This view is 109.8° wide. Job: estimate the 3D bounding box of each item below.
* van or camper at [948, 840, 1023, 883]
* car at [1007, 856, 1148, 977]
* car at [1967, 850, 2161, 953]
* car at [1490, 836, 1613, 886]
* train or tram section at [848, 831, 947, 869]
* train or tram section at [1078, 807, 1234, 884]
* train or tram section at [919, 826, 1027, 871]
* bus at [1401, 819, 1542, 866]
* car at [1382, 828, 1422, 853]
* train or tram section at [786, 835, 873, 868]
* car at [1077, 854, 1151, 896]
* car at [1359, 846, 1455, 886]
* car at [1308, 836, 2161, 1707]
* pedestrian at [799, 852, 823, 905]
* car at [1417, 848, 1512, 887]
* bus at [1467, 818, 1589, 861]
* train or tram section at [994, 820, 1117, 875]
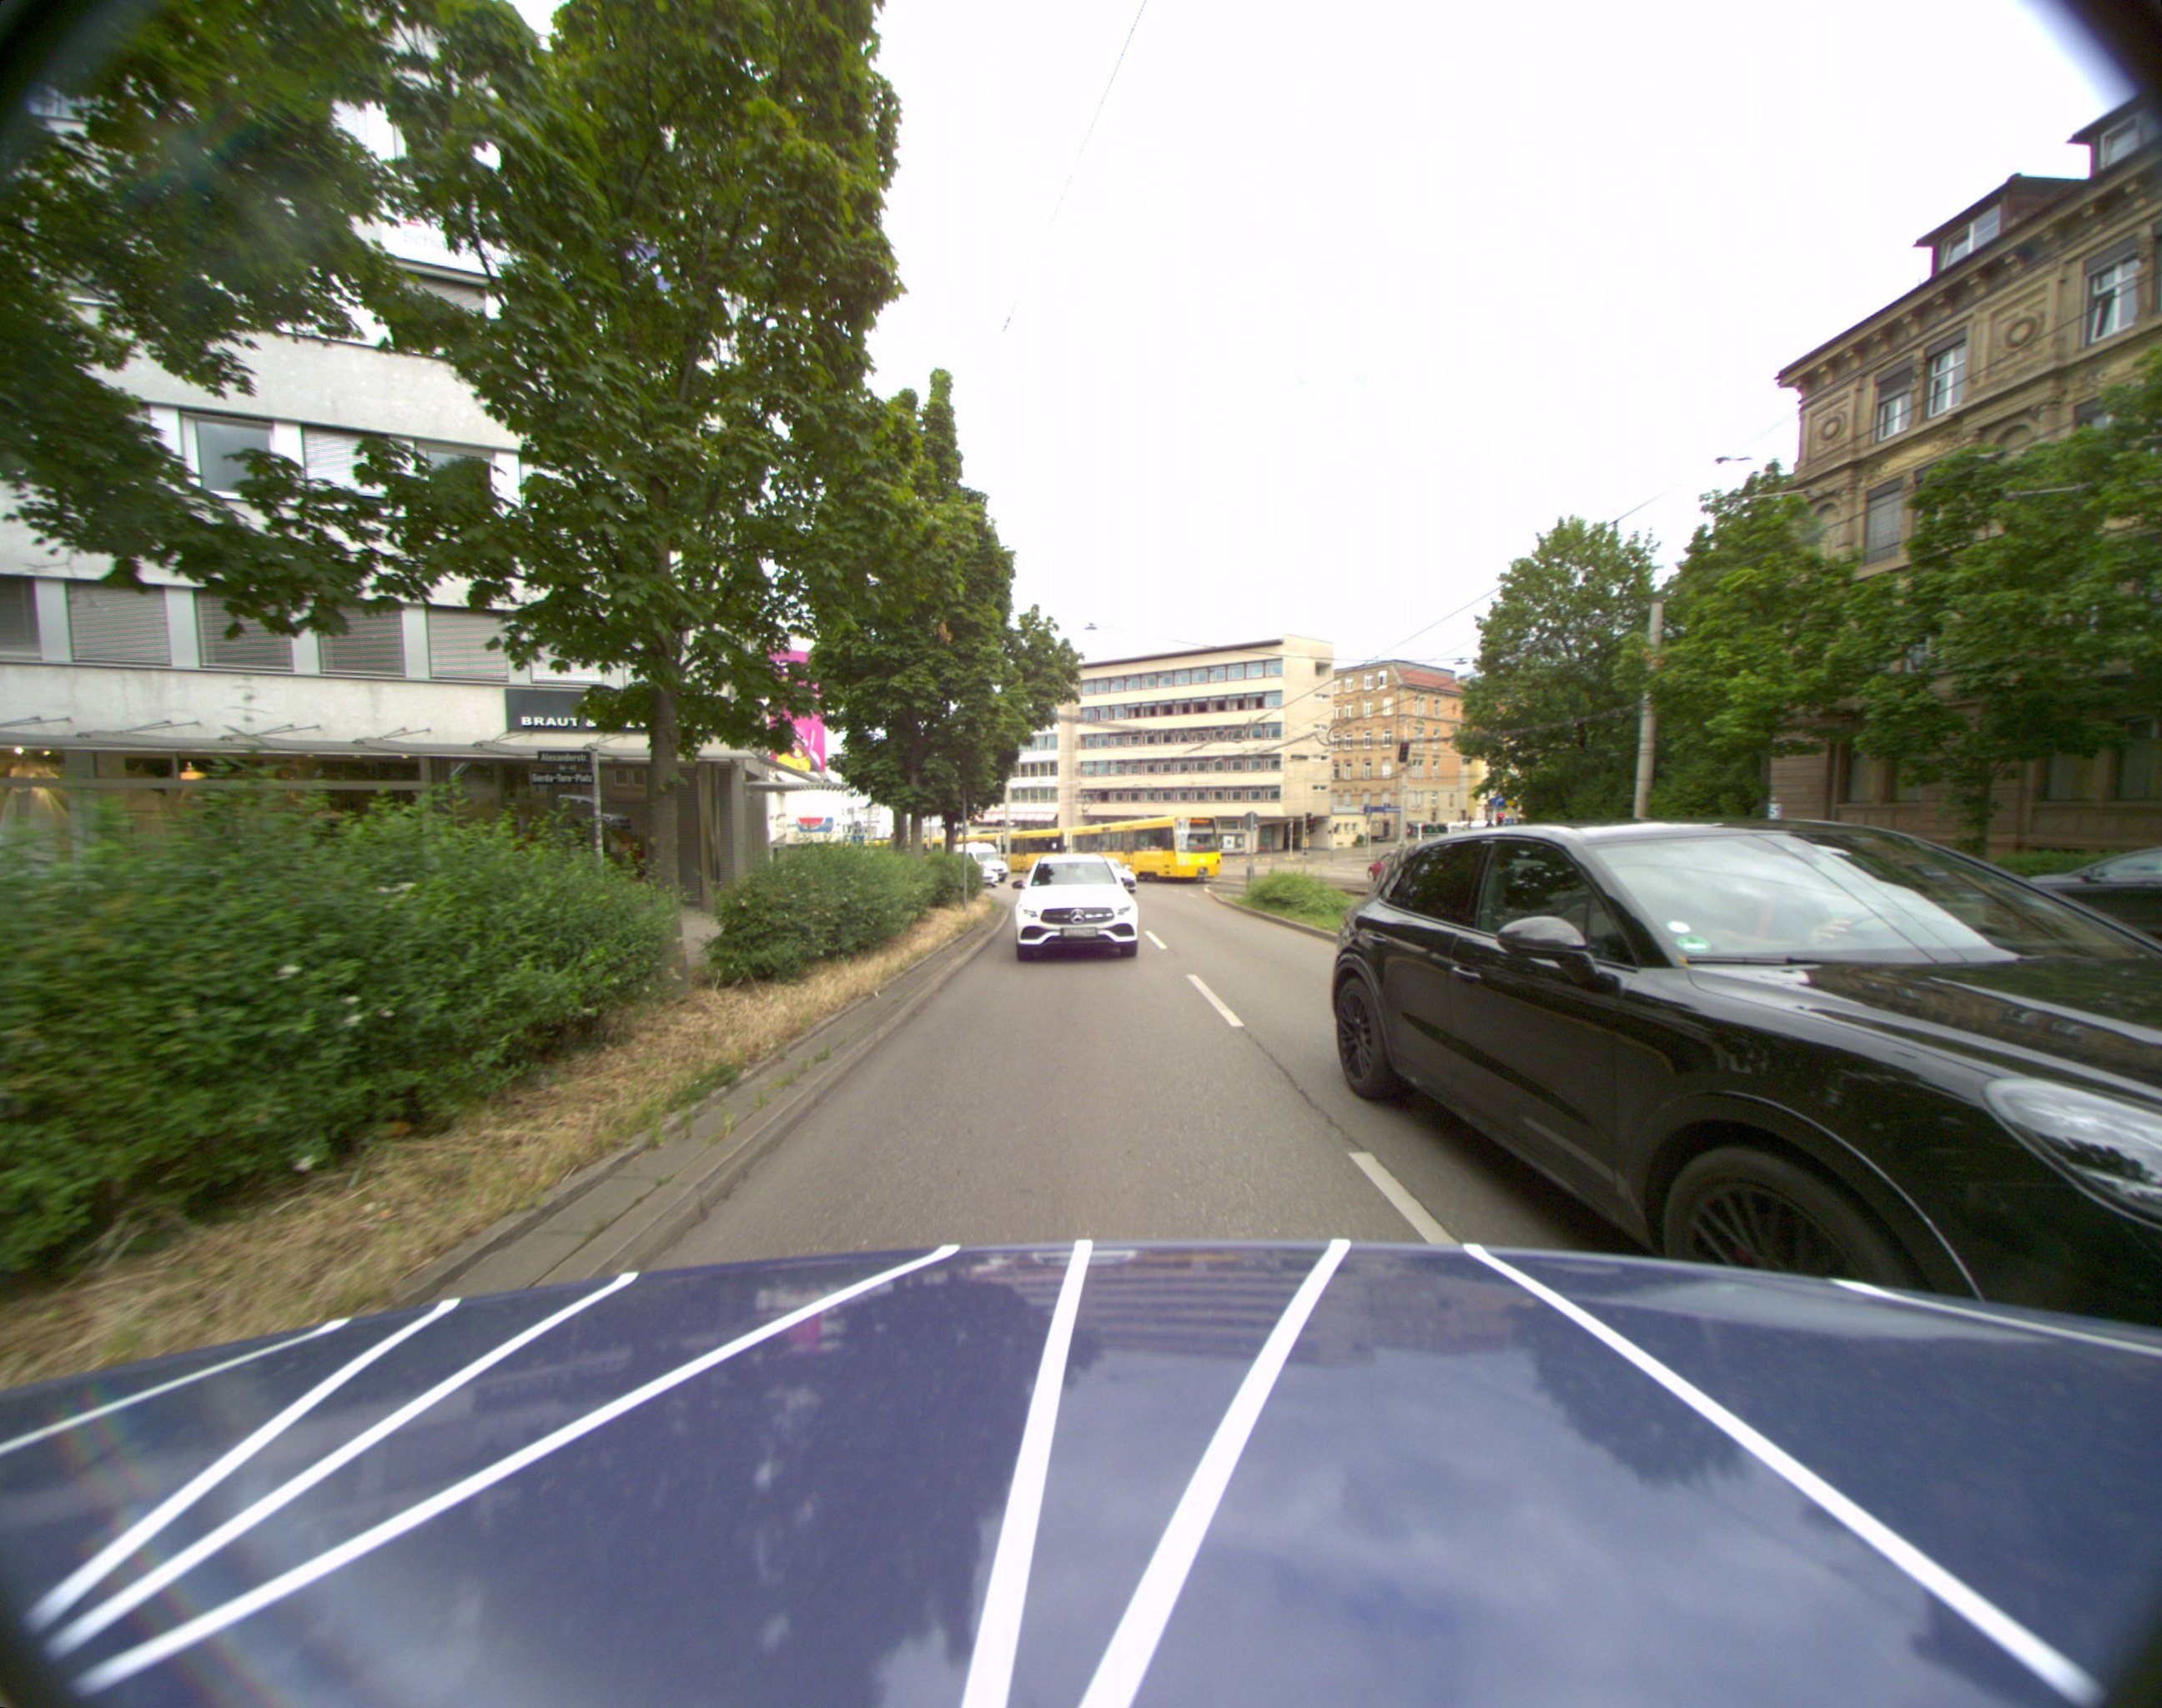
[{"bbox_3d":[-6.551,0.449,51.151,2.213,2.544,6.356,-5,3,-34],"label":"van or camper"},{"bbox_3d":[-0.084,0.904,13.267,1.935,1.622,4.772,-3,0,-1],"label":"car"},{"bbox_3d":[16.211,0.665,10.586,1.824,1.442,4.945,-1,-1,-2],"label":"car"},{"bbox_3d":[18.927,0.280,30.888,1.998,1.839,4.994,-1,0,2],"label":"car"},{"bbox_3d":[-19.653,-0.420,80.346,14.188,3.540,2.937,0,4,44],"label":"train or tram section"},{"bbox_3d":[3.752,-0.501,44.341,2.893,3.643,14.449,-4,2,-20],"label":"train or tram section"},{"bbox_3d":[-10.235,-0.462,69.805,2.895,3.643,14.190,-5,3,-38],"label":"train or tram section"},{"bbox_3d":[28.549,-0.916,55.304,11.565,3.012,3.382,-2,1,-30],"label":"bus"},{"bbox_3d":[33.270,-1.397,78.696,4.007,2.000,1.997,-5,-7,-42],"label":"car"},{"bbox_3d":[-30.029,-0.169,90.092,14.189,3.423,2.895,-1,4,42],"label":"train or tram section"},{"bbox_3d":[1.310,0.834,32.400,1.899,1.467,4.524,-3,2,-14],"label":"car"},{"bbox_3d":[13.593,0.461,32.018,1.999,1.510,4.405,-2,0,-2],"label":"car"},{"bbox_3d":[2.649,0.797,2.930,2.033,1.675,4.779,-1,2,-1],"label":"car"},{"bbox_3d":[-9.347,0.850,26.304,0.676,1.784,0.607,-3,1,-20],"label":"pedestrian"},{"bbox_3d":[15.885,0.501,31.744,1.747,1.419,4.404,-1,1,0],"label":"car"},{"bbox_3d":[34.948,-1.171,59.194,11.380,3.026,3.316,-2,1,-32],"label":"bus"},{"bbox_3d":[-2.356,-0.489,57.990,2.895,3.643,14.195,-3,2,-30],"label":"train or tram section"}]
